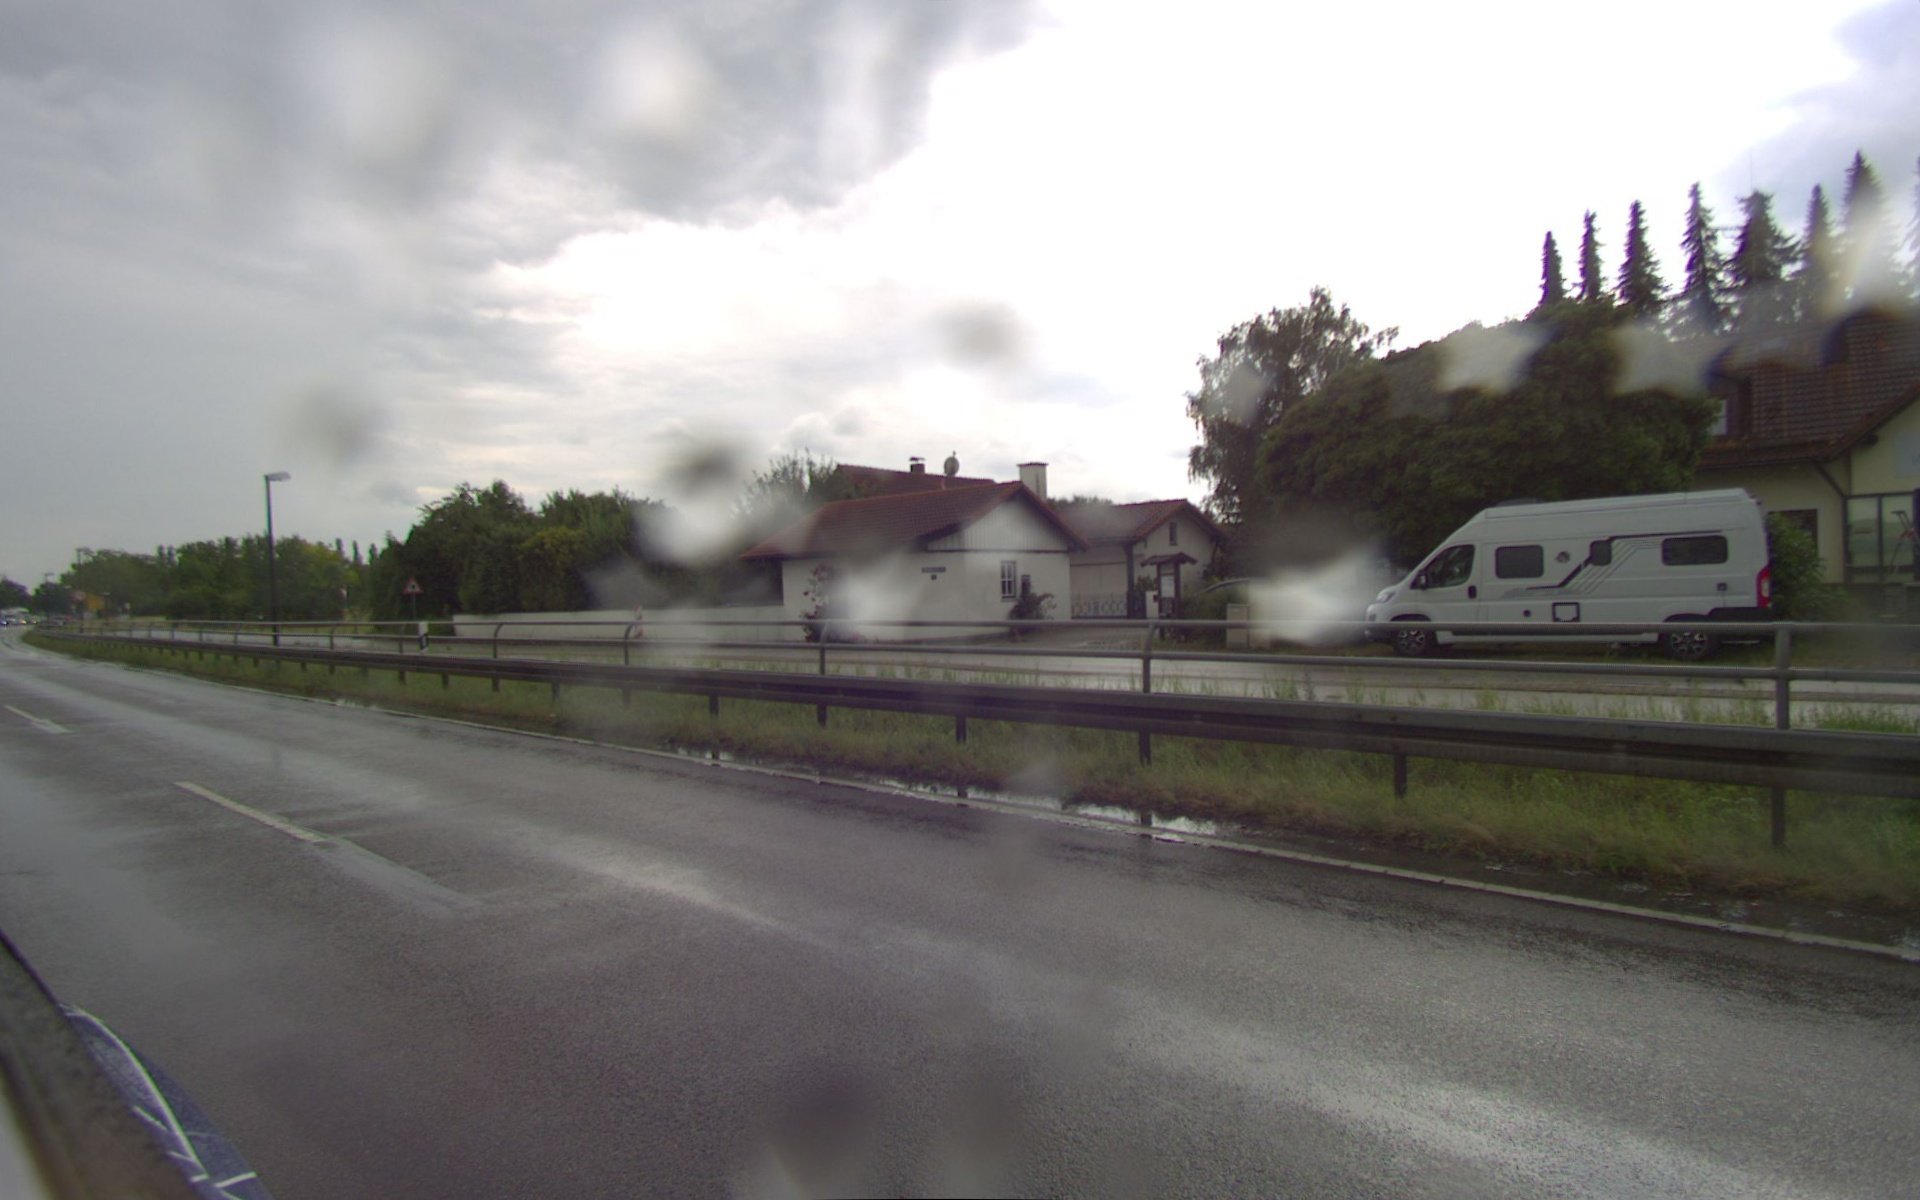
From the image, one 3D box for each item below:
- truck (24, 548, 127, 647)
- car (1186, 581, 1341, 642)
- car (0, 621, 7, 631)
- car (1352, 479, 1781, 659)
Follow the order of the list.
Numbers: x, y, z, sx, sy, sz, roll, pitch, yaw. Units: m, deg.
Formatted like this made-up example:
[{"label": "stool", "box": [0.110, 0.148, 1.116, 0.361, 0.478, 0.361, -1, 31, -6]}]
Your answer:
[{"label": "truck", "box": [-48.914, -0.126, 55.892, 7.781, 5.071, 3.214, -2, 1, 42]}, {"label": "car", "box": [7.285, 0.283, 24.428, 3.269, 1.366, 1.433, -1, 1, 42]}, {"label": "car", "box": [-179.394, 4.897, 188.918, 4.025, 1.746, 1.788, -2, 1, 41]}, {"label": "car", "box": [10.198, -0.428, 17.392, 6.013, 2.600, 2.215, -2, 1, 40]}]
